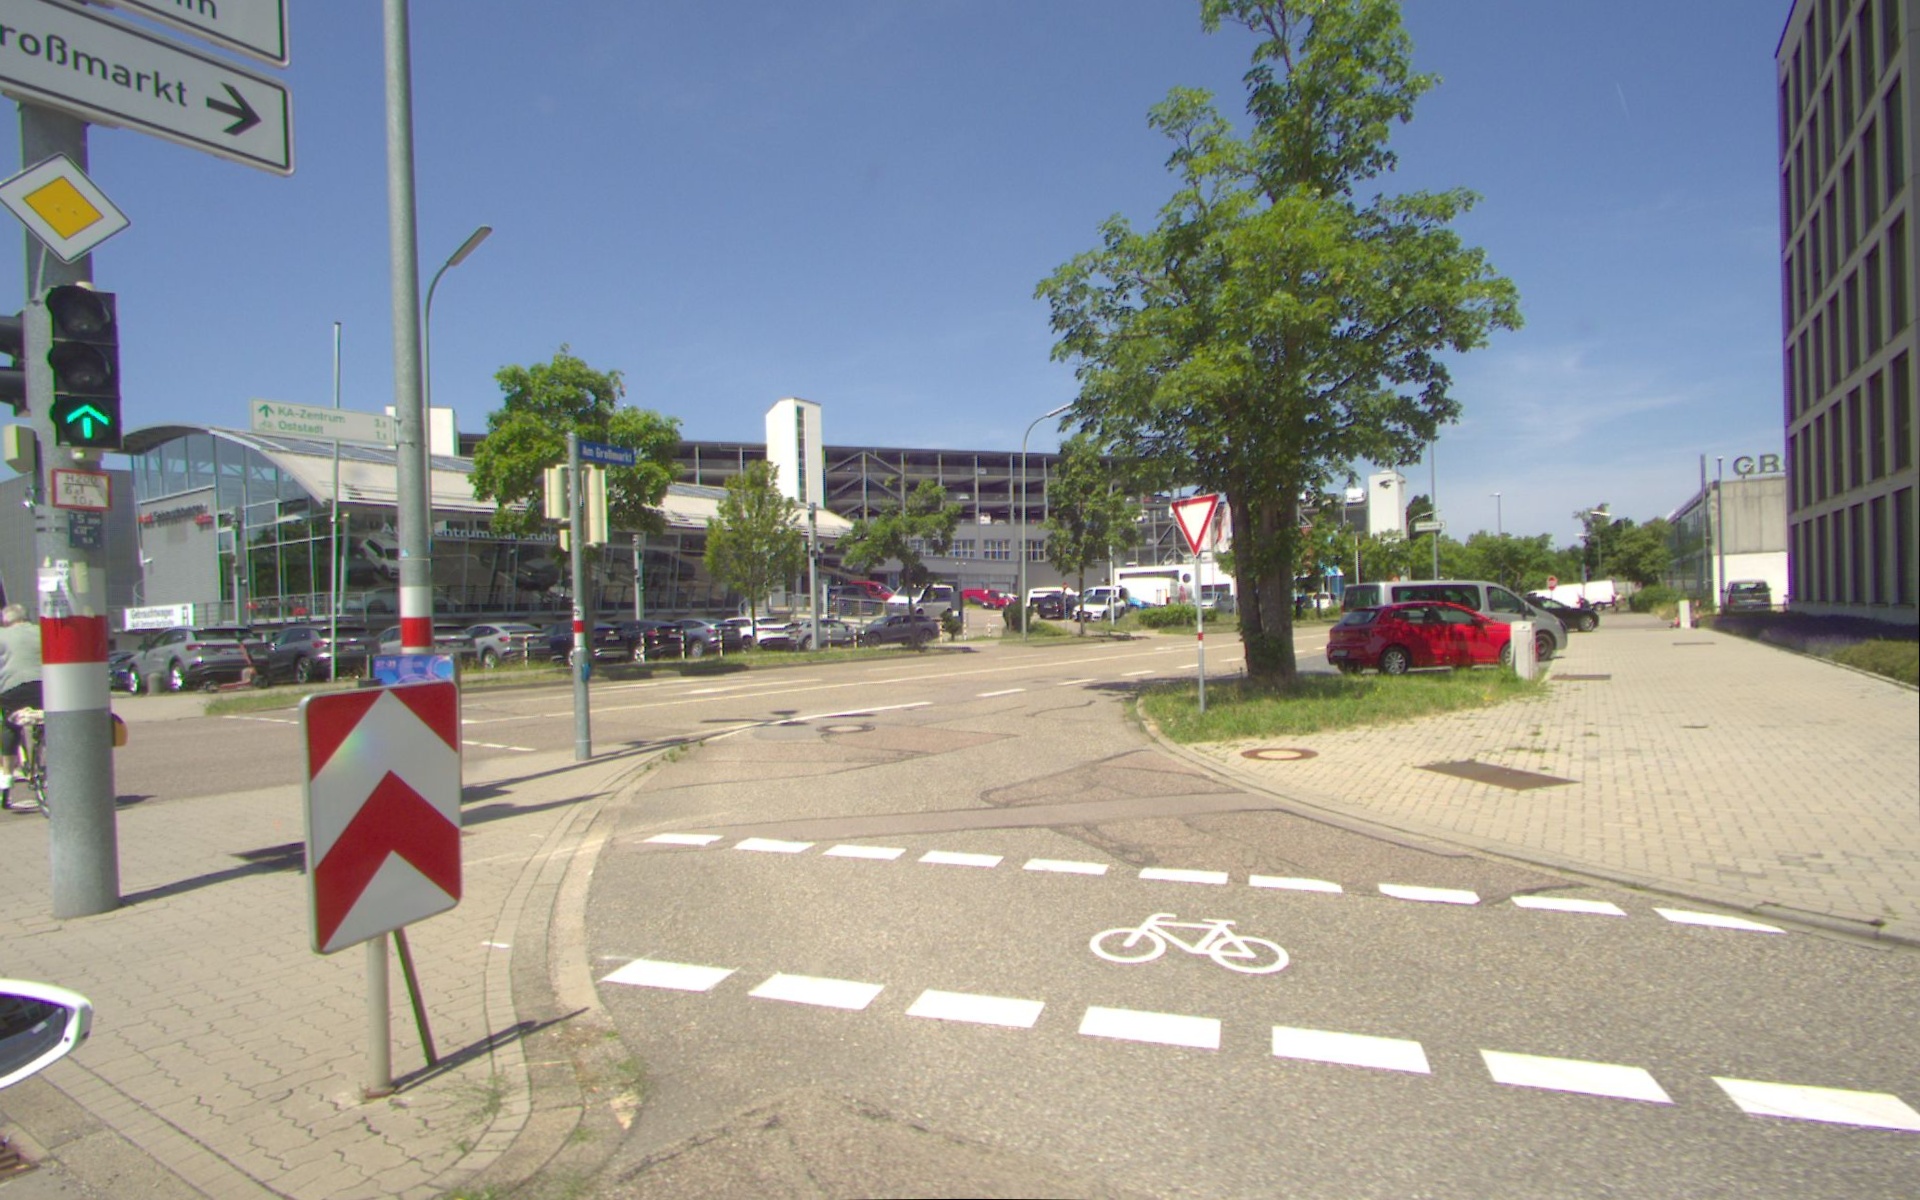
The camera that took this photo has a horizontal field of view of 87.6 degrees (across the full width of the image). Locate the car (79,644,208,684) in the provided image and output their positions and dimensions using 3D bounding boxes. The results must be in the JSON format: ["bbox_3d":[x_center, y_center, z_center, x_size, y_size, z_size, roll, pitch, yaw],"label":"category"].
[{"bbox_3d":[-34.689,2.696,42.644,1.610,1.592,3.976,-2,-3,32],"label":"car"}]

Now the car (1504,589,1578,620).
[{"bbox_3d":[41.970,0.378,72.399,4.513,2.039,1.989,-2,-2,33],"label":"car"}]

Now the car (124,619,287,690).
[{"bbox_3d":[-19.025,1.389,25.205,4.443,1.578,1.863,-4,-1,34],"label":"car"}]

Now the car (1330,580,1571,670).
[{"bbox_3d":[11.273,0.542,23.103,4.841,1.911,1.918,-1,0,-12],"label":"car"}]

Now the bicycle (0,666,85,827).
[{"bbox_3d":[-7.744,1.162,8.372,0.623,1.147,1.878,0,-1,-41],"label":"bicycle"}]

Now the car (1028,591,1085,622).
[{"bbox_3d":[5.919,0.426,61.028,1.971,1.727,3.983,-2,-2,30],"label":"car"}]

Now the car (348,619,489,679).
[{"bbox_3d":[-16.112,1.475,29.772,3.937,1.675,1.844,-2,-3,28],"label":"car"}]

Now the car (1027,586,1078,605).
[{"bbox_3d":[8.504,-0.403,92.020,4.295,1.674,1.904,-2,0,31],"label":"car"}]

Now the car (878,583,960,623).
[{"bbox_3d":[-2.125,0.154,53.859,1.885,1.992,5.228,-2,-1,30],"label":"car"}]

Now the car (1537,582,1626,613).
[{"bbox_3d":[55.657,-0.172,89.708,6.607,2.552,2.206,-2,-2,35],"label":"car"}]

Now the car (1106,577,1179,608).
[{"bbox_3d":[12.520,-0.496,68.610,4.522,1.911,1.904,-2,0,31],"label":"car"}]

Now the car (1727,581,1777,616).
[{"bbox_3d":[42.714,-0.036,54.077,1.772,1.749,3.978,-2,-3,34],"label":"car"}]

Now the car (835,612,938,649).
[{"bbox_3d":[-3.474,1.416,47.473,4.553,1.491,1.839,-2,0,-34],"label":"car"}]

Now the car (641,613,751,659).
[{"bbox_3d":[-10.193,1.412,38.702,3.937,1.675,1.844,-2,-3,28],"label":"car"}]

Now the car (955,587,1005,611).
[{"bbox_3d":[1.515,-0.042,74.305,1.859,1.728,3.977,-2,-1,34],"label":"car"}]

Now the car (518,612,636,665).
[{"bbox_3d":[-13.047,1.319,34.043,3.851,1.675,1.627,-2,-2,28],"label":"car"}]

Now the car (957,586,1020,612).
[{"bbox_3d":[2.188,-0.072,77.788,4.526,1.820,1.902,-2,0,34],"label":"car"}]

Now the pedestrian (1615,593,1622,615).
[{"bbox_3d":[47.922,0.299,72.904,0.399,1.580,0.546,-1,0,33],"label":"pedestrian"}]

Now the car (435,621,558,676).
[{"bbox_3d":[-14.688,1.489,31.691,3.759,1.637,1.635,-1,-1,28],"label":"car"}]

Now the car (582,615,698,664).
[{"bbox_3d":[-11.667,1.464,36.511,3.937,1.675,1.844,-2,-3,28],"label":"car"}]

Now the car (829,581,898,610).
[{"bbox_3d":[-6.333,-0.307,65.704,4.083,1.744,1.907,-2,0,25],"label":"car"}]

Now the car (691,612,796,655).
[{"bbox_3d":[-8.872,1.416,41.006,3.937,1.675,1.844,-2,-3,28],"label":"car"}]

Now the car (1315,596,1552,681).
[{"bbox_3d":[9.346,0.754,19.921,3.923,1.451,1.700,-2,-1,-7],"label":"car"}]

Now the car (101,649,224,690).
[{"bbox_3d":[-32.725,2.805,41.168,1.619,1.600,3.642,-2,-3,32],"label":"car"}]

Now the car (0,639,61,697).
[{"bbox_3d":[-24.753,1.640,23.903,1.844,1.407,4.583,-2,-3,34],"label":"car"}]

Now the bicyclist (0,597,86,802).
[{"bbox_3d":[-7.760,0.808,8.402,0.623,1.626,0.818,1,-2,-42],"label":"bicyclist"}]

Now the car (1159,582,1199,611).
[{"bbox_3d":[16.893,-0.237,77.283,1.812,2.039,3.981,-2,-2,31],"label":"car"}]

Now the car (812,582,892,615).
[{"bbox_3d":[-6.029,-0.072,56.290,1.888,1.730,4.560,-2,-1,35],"label":"car"}]

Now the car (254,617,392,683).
[{"bbox_3d":[-17.432,1.370,27.375,3.946,1.675,1.840,-3,-3,36],"label":"car"}]

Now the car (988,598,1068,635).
[{"bbox_3d":[3.457,0.801,50.009,1.888,1.716,4.559,-2,-1,35],"label":"car"}]

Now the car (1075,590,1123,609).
[{"bbox_3d":[13.767,-0.054,99.083,4.298,1.674,1.903,-2,-1,34],"label":"car"}]

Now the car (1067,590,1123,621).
[{"bbox_3d":[8.092,0.373,59.850,1.971,1.727,3.983,-2,-2,30],"label":"car"}]

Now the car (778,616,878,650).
[{"bbox_3d":[-6.475,1.616,49.329,4.527,1.491,1.902,-1,-1,-34],"label":"car"}]

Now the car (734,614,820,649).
[{"bbox_3d":[-9.388,1.604,51.459,3.938,1.591,1.842,-1,-1,-28],"label":"car"}]
